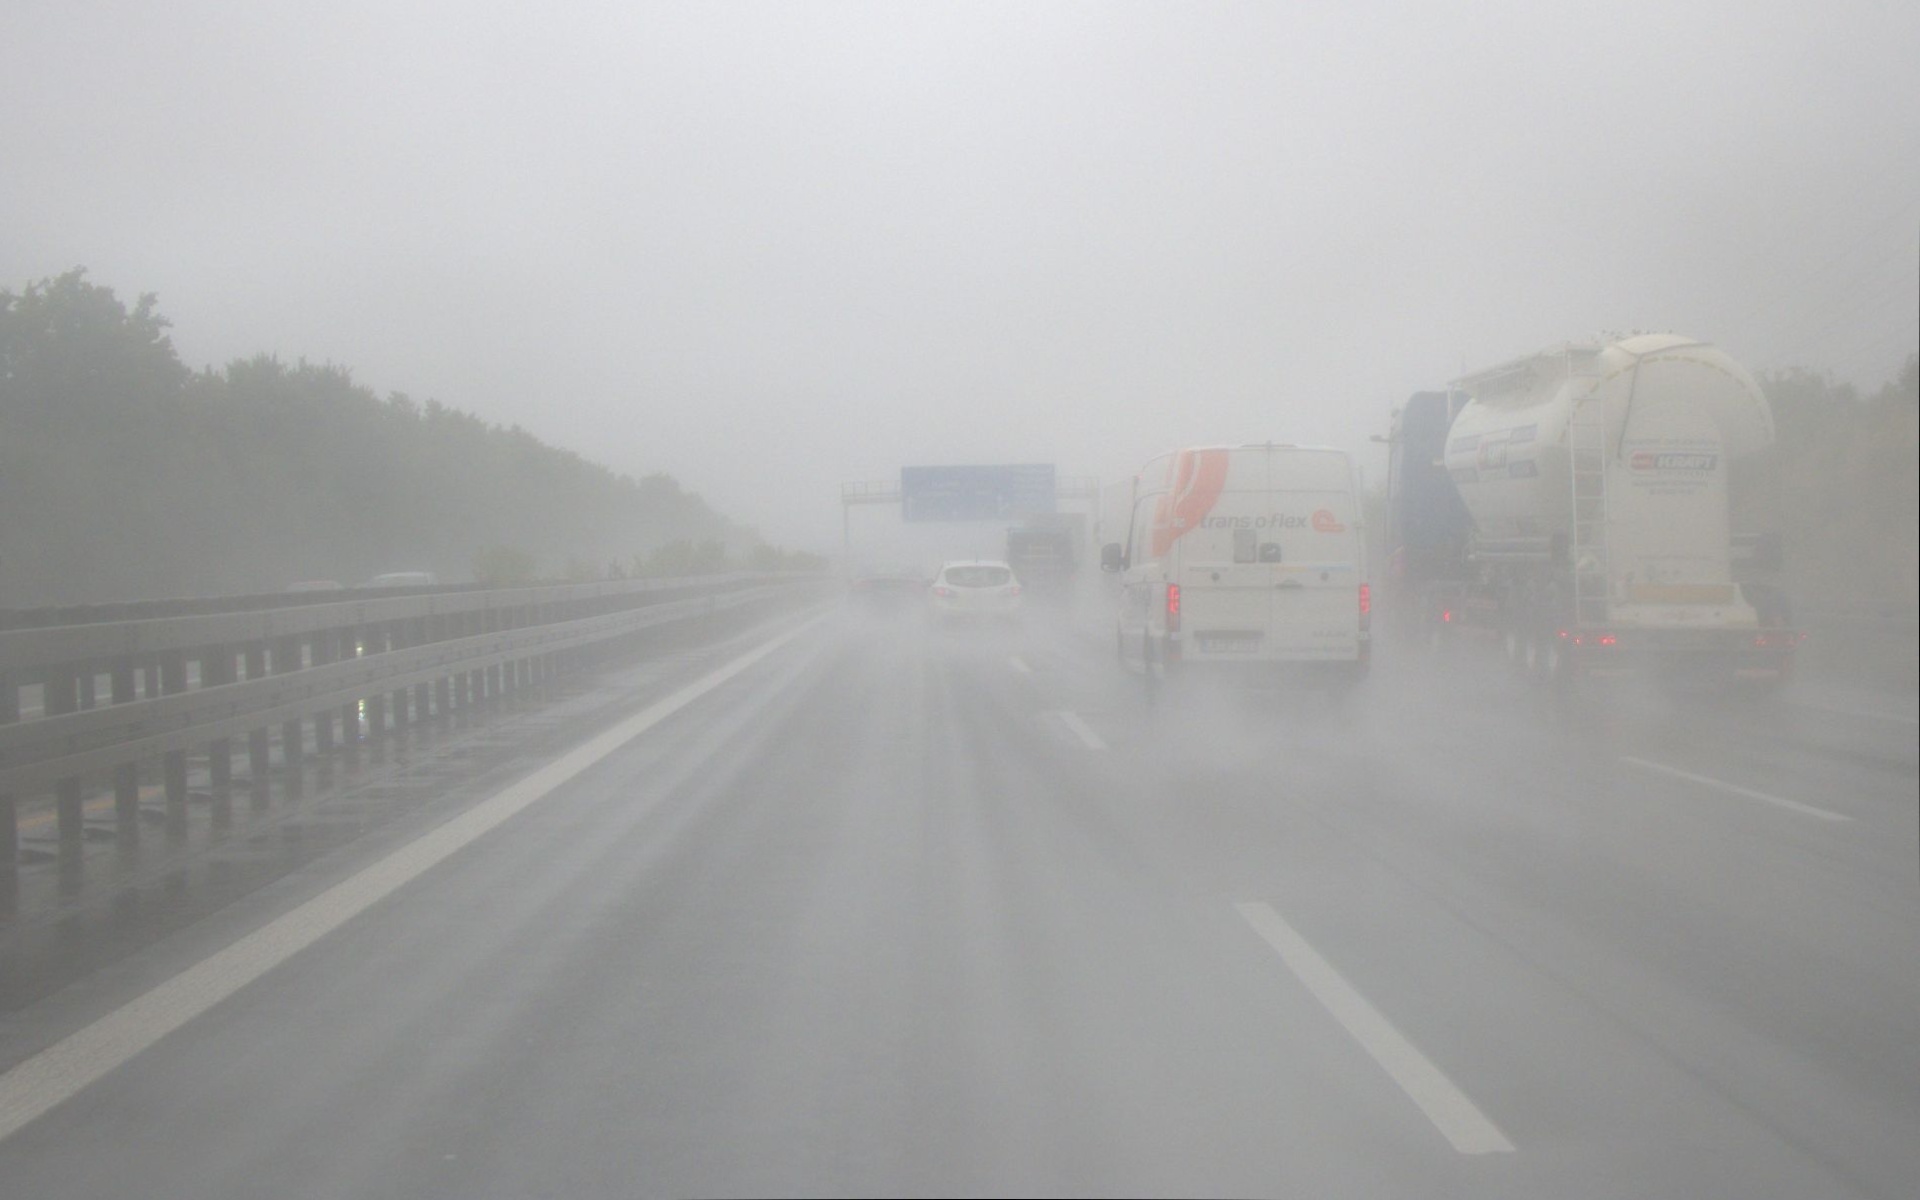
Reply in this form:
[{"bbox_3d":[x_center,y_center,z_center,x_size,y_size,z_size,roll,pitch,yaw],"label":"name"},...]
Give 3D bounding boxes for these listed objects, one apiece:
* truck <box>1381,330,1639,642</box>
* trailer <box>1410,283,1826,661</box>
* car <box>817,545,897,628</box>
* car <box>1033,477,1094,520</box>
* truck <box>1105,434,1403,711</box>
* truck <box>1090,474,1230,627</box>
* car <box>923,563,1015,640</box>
[{"bbox_3d":[7.349,-1.498,46.542,2.496,3.970,5.076,1,1,-2],"label":"truck"},{"bbox_3d":[7.521,-1.411,41.022,2.497,3.869,11.067,1,1,-2],"label":"trailer"},{"bbox_3d":[-2.338,-0.329,78.538,1.702,1.812,3.862,1,1,0],"label":"car"},{"bbox_3d":[5.160,-5.062,171.931,2.788,2.007,4.993,1,1,-1],"label":"car"},{"bbox_3d":[2.795,-0.294,34.082,2.419,2.484,5.560,1,1,0],"label":"truck"},{"bbox_3d":[6.327,-1.502,111.760,3.039,4.572,16.352,1,0,-2],"label":"truck"},{"bbox_3d":[0.139,0.012,63.470,1.605,1.333,3.848,1,1,-1],"label":"car"}]
